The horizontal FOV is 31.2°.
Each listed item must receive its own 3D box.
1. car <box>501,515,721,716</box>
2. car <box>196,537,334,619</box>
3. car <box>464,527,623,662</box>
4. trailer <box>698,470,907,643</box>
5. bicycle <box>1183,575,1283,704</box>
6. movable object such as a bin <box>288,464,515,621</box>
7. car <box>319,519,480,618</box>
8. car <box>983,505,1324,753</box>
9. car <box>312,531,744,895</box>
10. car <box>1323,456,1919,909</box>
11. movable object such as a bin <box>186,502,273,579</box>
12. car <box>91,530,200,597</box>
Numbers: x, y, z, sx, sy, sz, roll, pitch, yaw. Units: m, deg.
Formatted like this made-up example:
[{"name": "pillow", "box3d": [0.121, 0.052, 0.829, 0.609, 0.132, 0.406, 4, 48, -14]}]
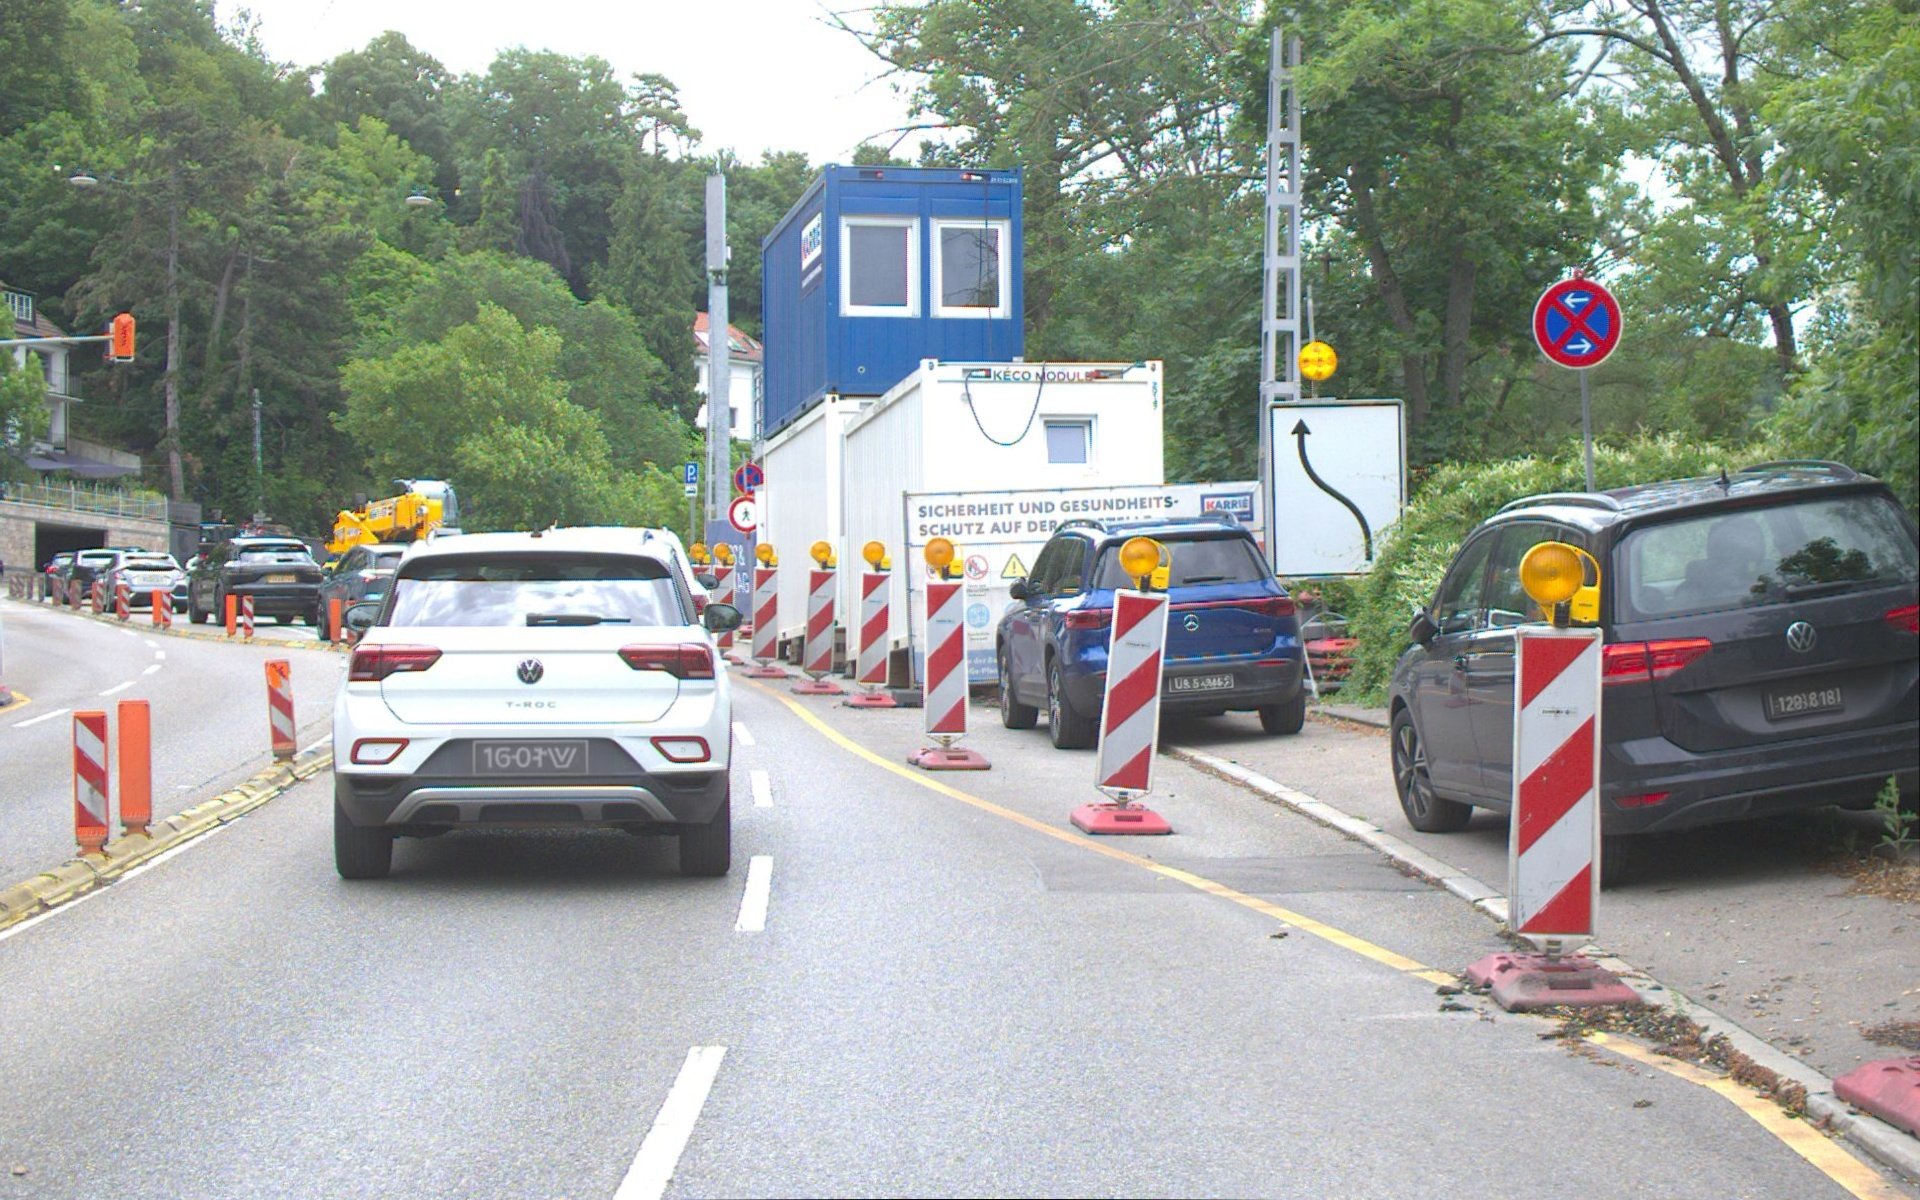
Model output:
[{"name": "car", "box3d": [-3.073, 0.102, 30.672, 1.809, 1.657, 4.001, -1, 1, -5]}, {"name": "car", "box3d": [-13.241, -0.427, 65.357, 1.794, 1.505, 4.001, -1, 1, -23]}, {"name": "car", "box3d": [-5.429, -0.098, 44.475, 1.809, 1.657, 4.001, -1, 1, -10]}, {"name": "trailer", "box3d": [-2.534, -0.691, 53.885, 2.106, 2.541, 5.120, -2, 1, -16]}, {"name": "bicycle", "box3d": [2.489, 0.344, 31.508, 0.498, 1.104, 1.800, -3, 1, -7]}, {"name": "movable object such as a bin", "box3d": [-11.854, -1.194, 72.327, 2.811, 3.060, 7.825, 1, 0, -23]}, {"name": "car", "box3d": [-8.960, -0.505, 54.720, 1.794, 1.505, 4.001, -1, 1, -20]}, {"name": "car", "box3d": [1.388, 0.175, 26.569, 1.839, 1.637, 4.503, -4, 1, -6]}, {"name": "car", "box3d": [-2.067, 0.451, 16.627, 1.809, 1.526, 4.001, -1, 1, -7]}, {"name": "car", "box3d": [3.155, 0.281, 16.017, 1.861, 1.668, 4.647, -5, 1, -6]}, {"name": "movable object such as a bin", "box3d": [-26.313, -2.130, 123.934, 2.211, 2.654, 4.945, 1, 1, -2]}, {"name": "car", "box3d": [-18.991, -0.851, 80.035, 1.794, 1.505, 4.001, -1, 1, -23]}]
